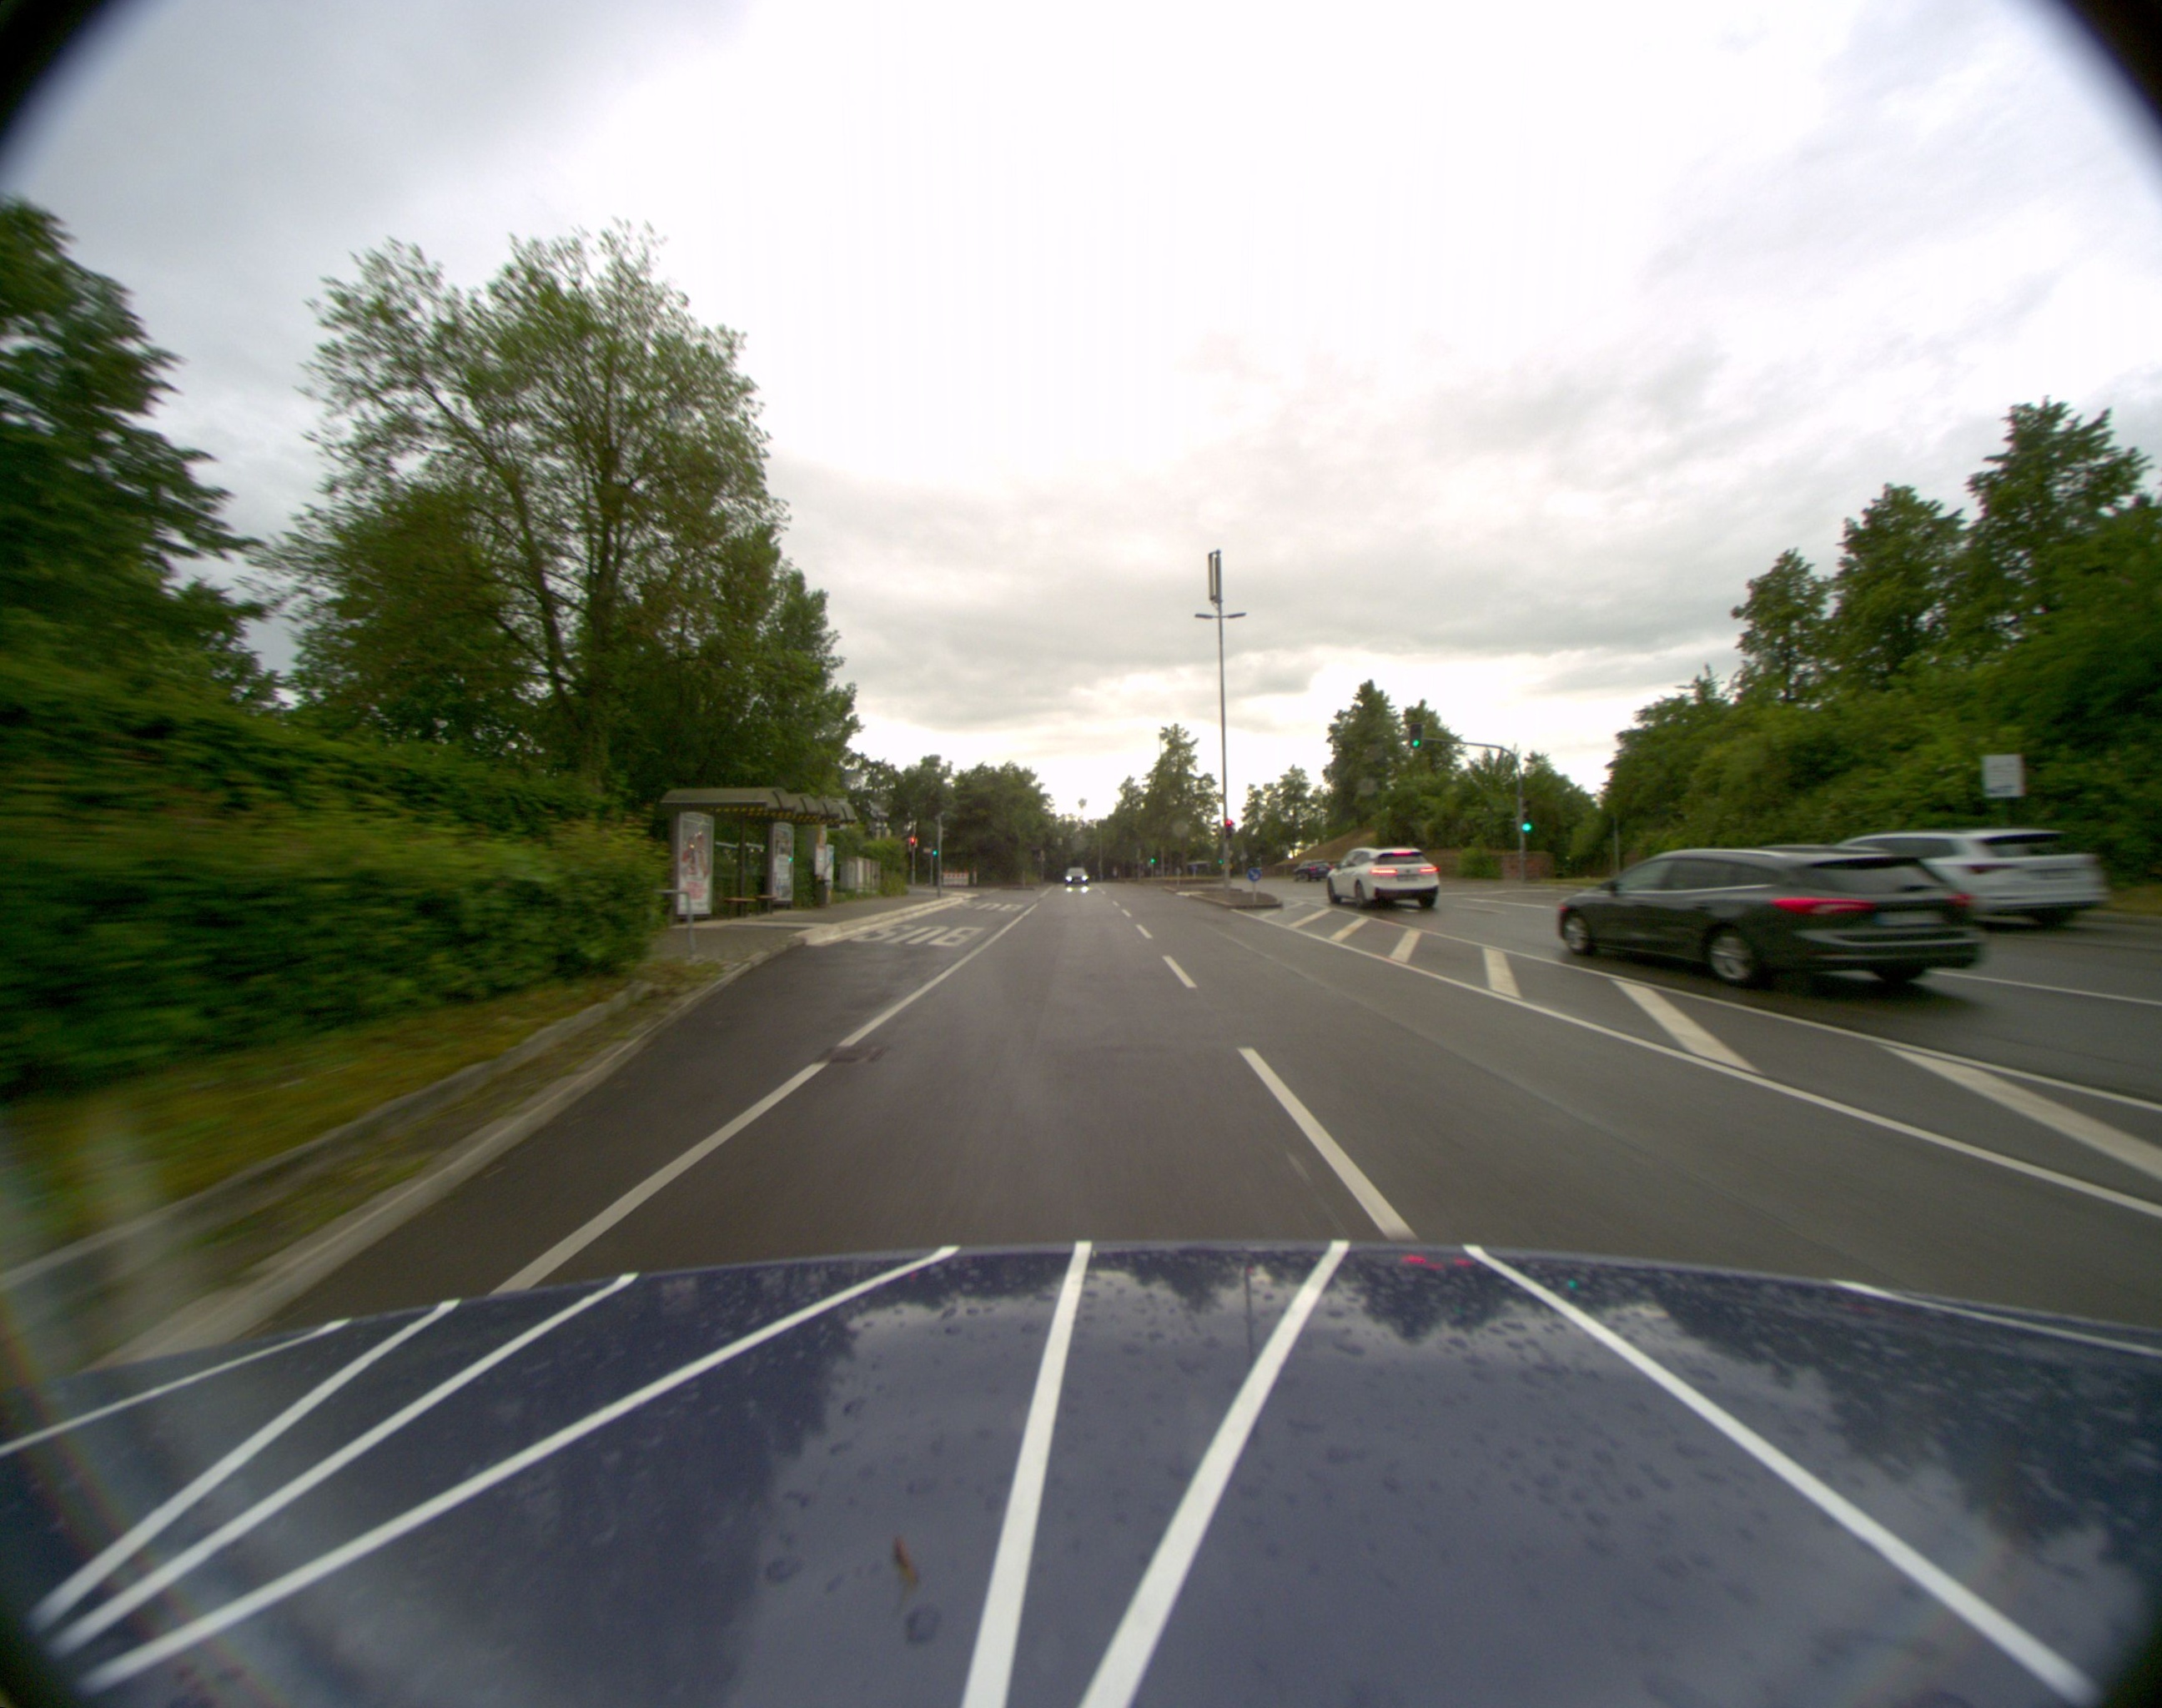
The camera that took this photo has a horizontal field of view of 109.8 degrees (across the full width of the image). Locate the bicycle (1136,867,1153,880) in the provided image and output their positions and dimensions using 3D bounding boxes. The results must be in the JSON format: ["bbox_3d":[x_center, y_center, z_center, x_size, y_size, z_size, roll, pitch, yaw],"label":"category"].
[{"bbox_3d":[5.729,1.777,68.378,0.552,1.136,2.144,-2,-1,33],"label":"bicycle"}]

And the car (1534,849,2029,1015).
[{"bbox_3d":[7.716,0.714,9.199,1.782,1.463,4.645,-2,0,2],"label":"car"}]

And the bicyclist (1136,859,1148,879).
[{"bbox_3d":[5.441,1.348,67.959,0.723,1.742,0.803,2,2,33],"label":"bicyclist"}]

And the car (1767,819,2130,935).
[{"bbox_3d":[14.442,0.328,13.072,1.728,1.581,4.001,-3,0,3],"label":"car"}]

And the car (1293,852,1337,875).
[{"bbox_3d":[15.954,0.646,51.996,1.824,1.429,4.455,-1,0,3],"label":"car"}]

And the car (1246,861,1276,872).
[{"bbox_3d":[24.101,1.691,101.920,3.692,1.469,1.763,-1,-1,9],"label":"car"}]

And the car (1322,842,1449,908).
[{"bbox_3d":[8.645,0.527,22.105,1.949,1.626,5.006,-2,0,4],"label":"car"}]

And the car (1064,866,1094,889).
[{"bbox_3d":[-0.082,1.833,59.035,1.998,1.575,4.004,1,-4,4],"label":"car"}]
